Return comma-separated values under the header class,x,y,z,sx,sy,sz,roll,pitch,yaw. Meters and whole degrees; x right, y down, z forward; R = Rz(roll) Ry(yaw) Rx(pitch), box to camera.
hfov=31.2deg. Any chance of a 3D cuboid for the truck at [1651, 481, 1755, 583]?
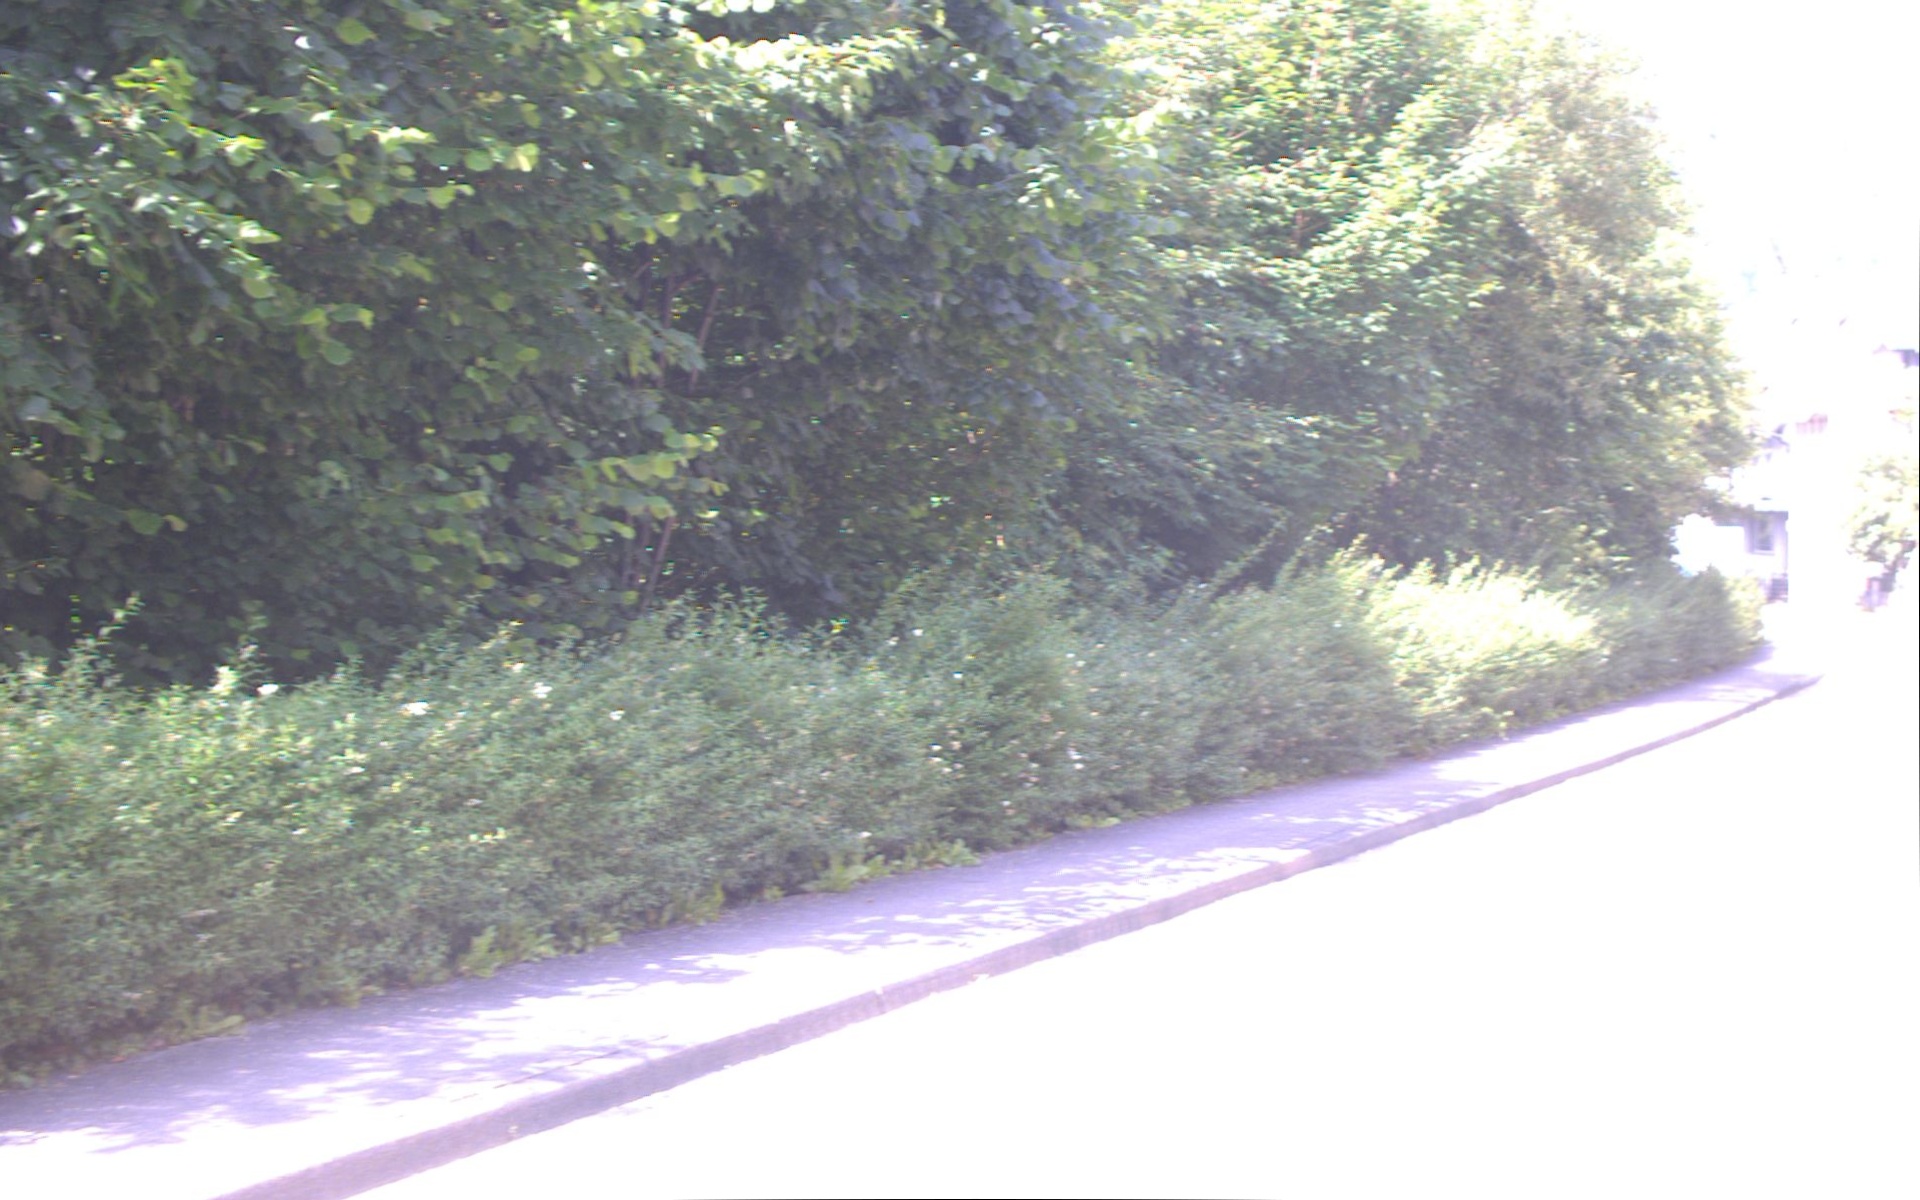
class,x,y,z,sx,sy,sz,roll,pitch,yaw
truck,31.429,-2.812,145.730,3.364,3.769,8.437,-4,-1,8
